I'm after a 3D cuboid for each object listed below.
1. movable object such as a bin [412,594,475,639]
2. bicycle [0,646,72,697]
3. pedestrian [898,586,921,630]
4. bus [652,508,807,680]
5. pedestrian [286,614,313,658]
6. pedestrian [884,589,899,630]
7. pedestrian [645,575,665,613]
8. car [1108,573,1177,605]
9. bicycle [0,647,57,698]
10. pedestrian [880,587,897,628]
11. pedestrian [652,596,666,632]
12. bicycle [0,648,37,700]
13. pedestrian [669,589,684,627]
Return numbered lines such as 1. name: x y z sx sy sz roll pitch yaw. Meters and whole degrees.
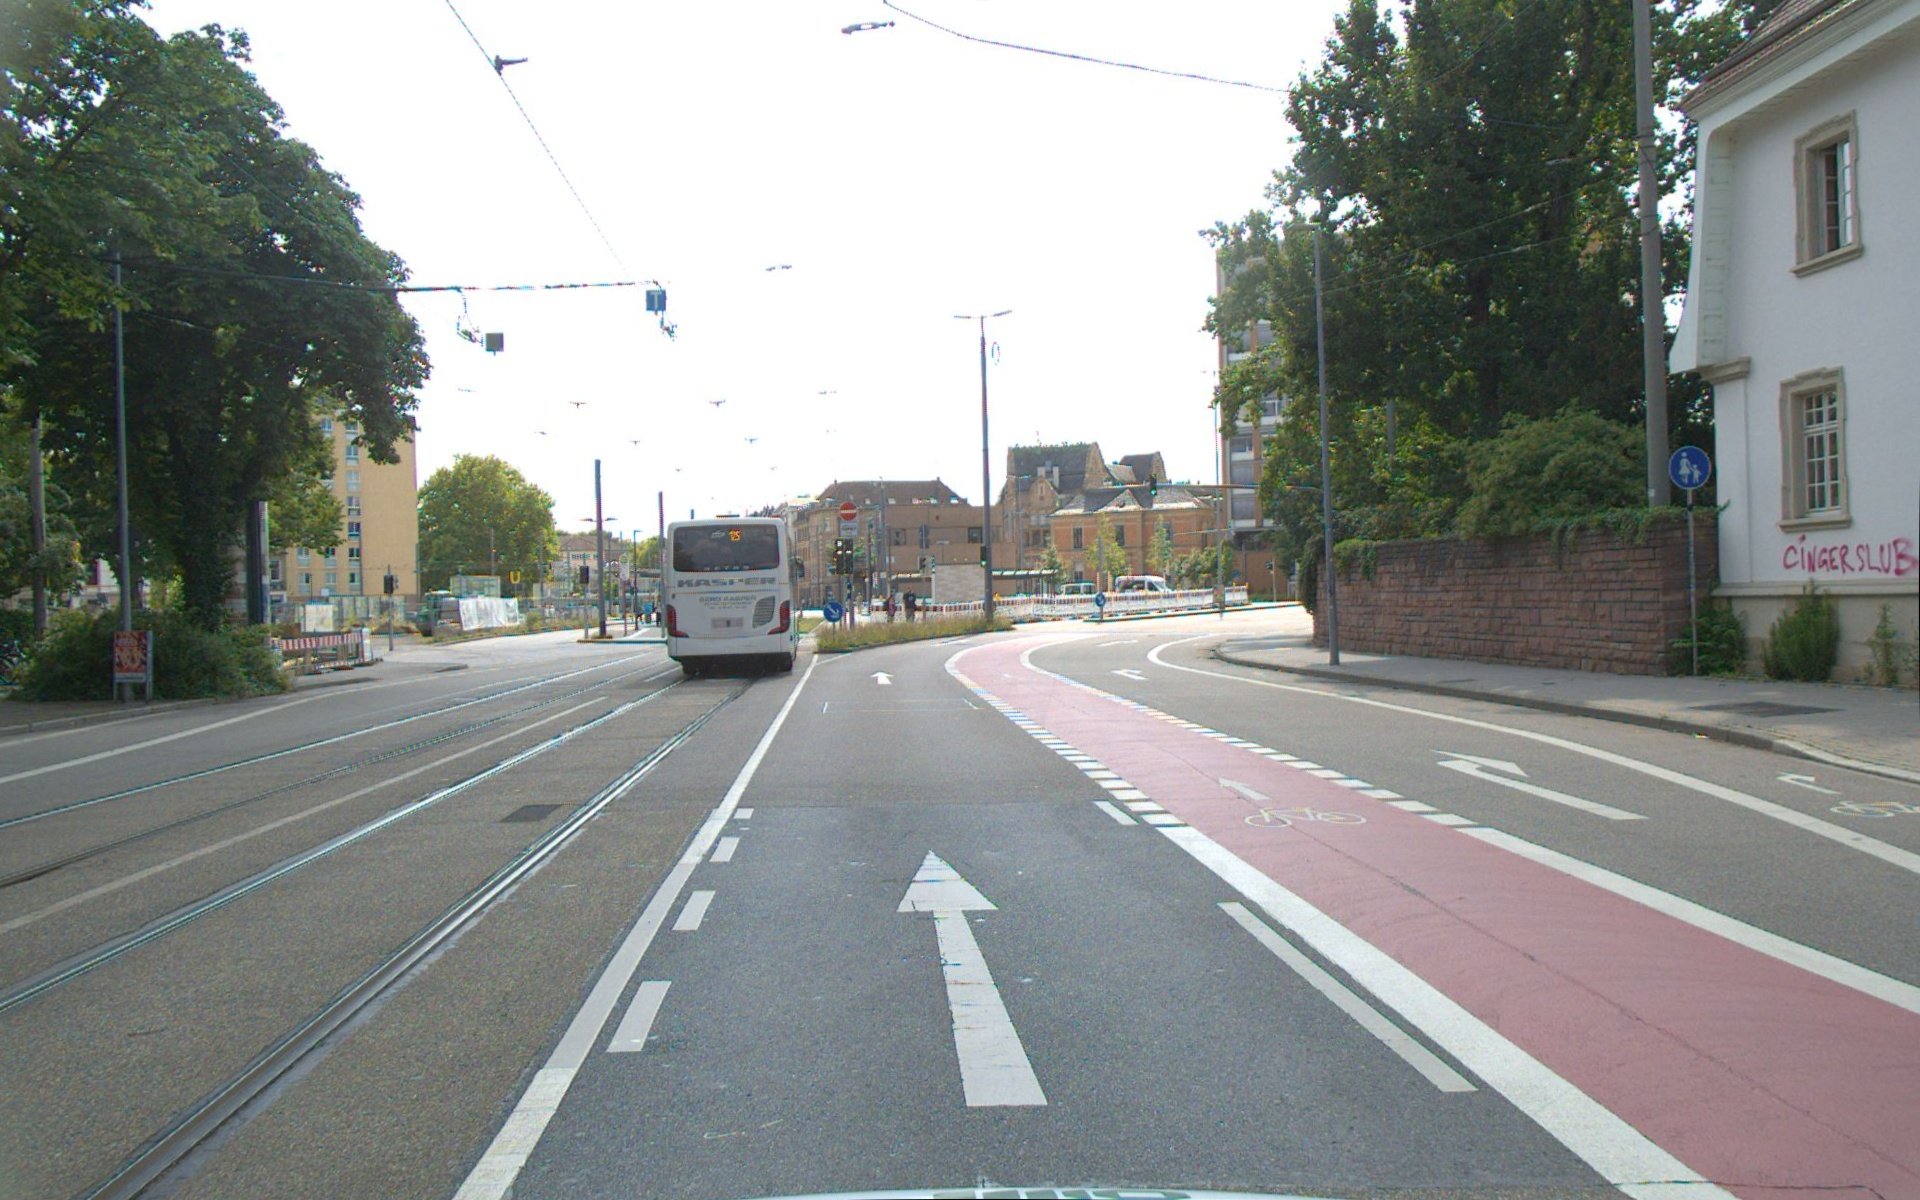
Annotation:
1. movable object such as a bin: -31.951 1.017 102.436 2.589 2.619 3.999 -2 0 -2
2. bicycle: -23.204 1.769 40.876 2.073 1.188 0.729 -1 -1 -6
3. pedestrian: -2.236 0.363 73.120 0.782 1.917 0.607 -2 0 -27
4. bus: -5.159 -0.081 39.073 2.861 3.386 12.193 -1 0 -5
5. pedestrian: -25.605 1.389 64.105 0.771 1.681 0.580 -2 0 0
6. pedestrian: -3.005 0.405 72.559 0.400 1.766 0.621 -2 0 19
7. pedestrian: -16.534 -0.309 89.674 0.922 2.049 0.731 -1 -1 -2
8. car: 14.859 -0.877 134.601 2.280 2.359 5.507 -2 0 -40
9. bicycle: -23.083 1.762 39.988 2.073 1.188 0.729 -1 -1 -6
10. pedestrian: -3.083 0.322 71.523 0.598 1.736 0.623 -2 0 6
11. pedestrian: -16.093 0.741 88.382 0.599 1.917 0.793 -2 0 -3
12. bicycle: -22.929 1.753 38.799 2.073 1.188 0.729 -1 -1 -6
13. pedestrian: -14.320 0.391 83.632 0.599 1.917 0.793 -2 0 -4
